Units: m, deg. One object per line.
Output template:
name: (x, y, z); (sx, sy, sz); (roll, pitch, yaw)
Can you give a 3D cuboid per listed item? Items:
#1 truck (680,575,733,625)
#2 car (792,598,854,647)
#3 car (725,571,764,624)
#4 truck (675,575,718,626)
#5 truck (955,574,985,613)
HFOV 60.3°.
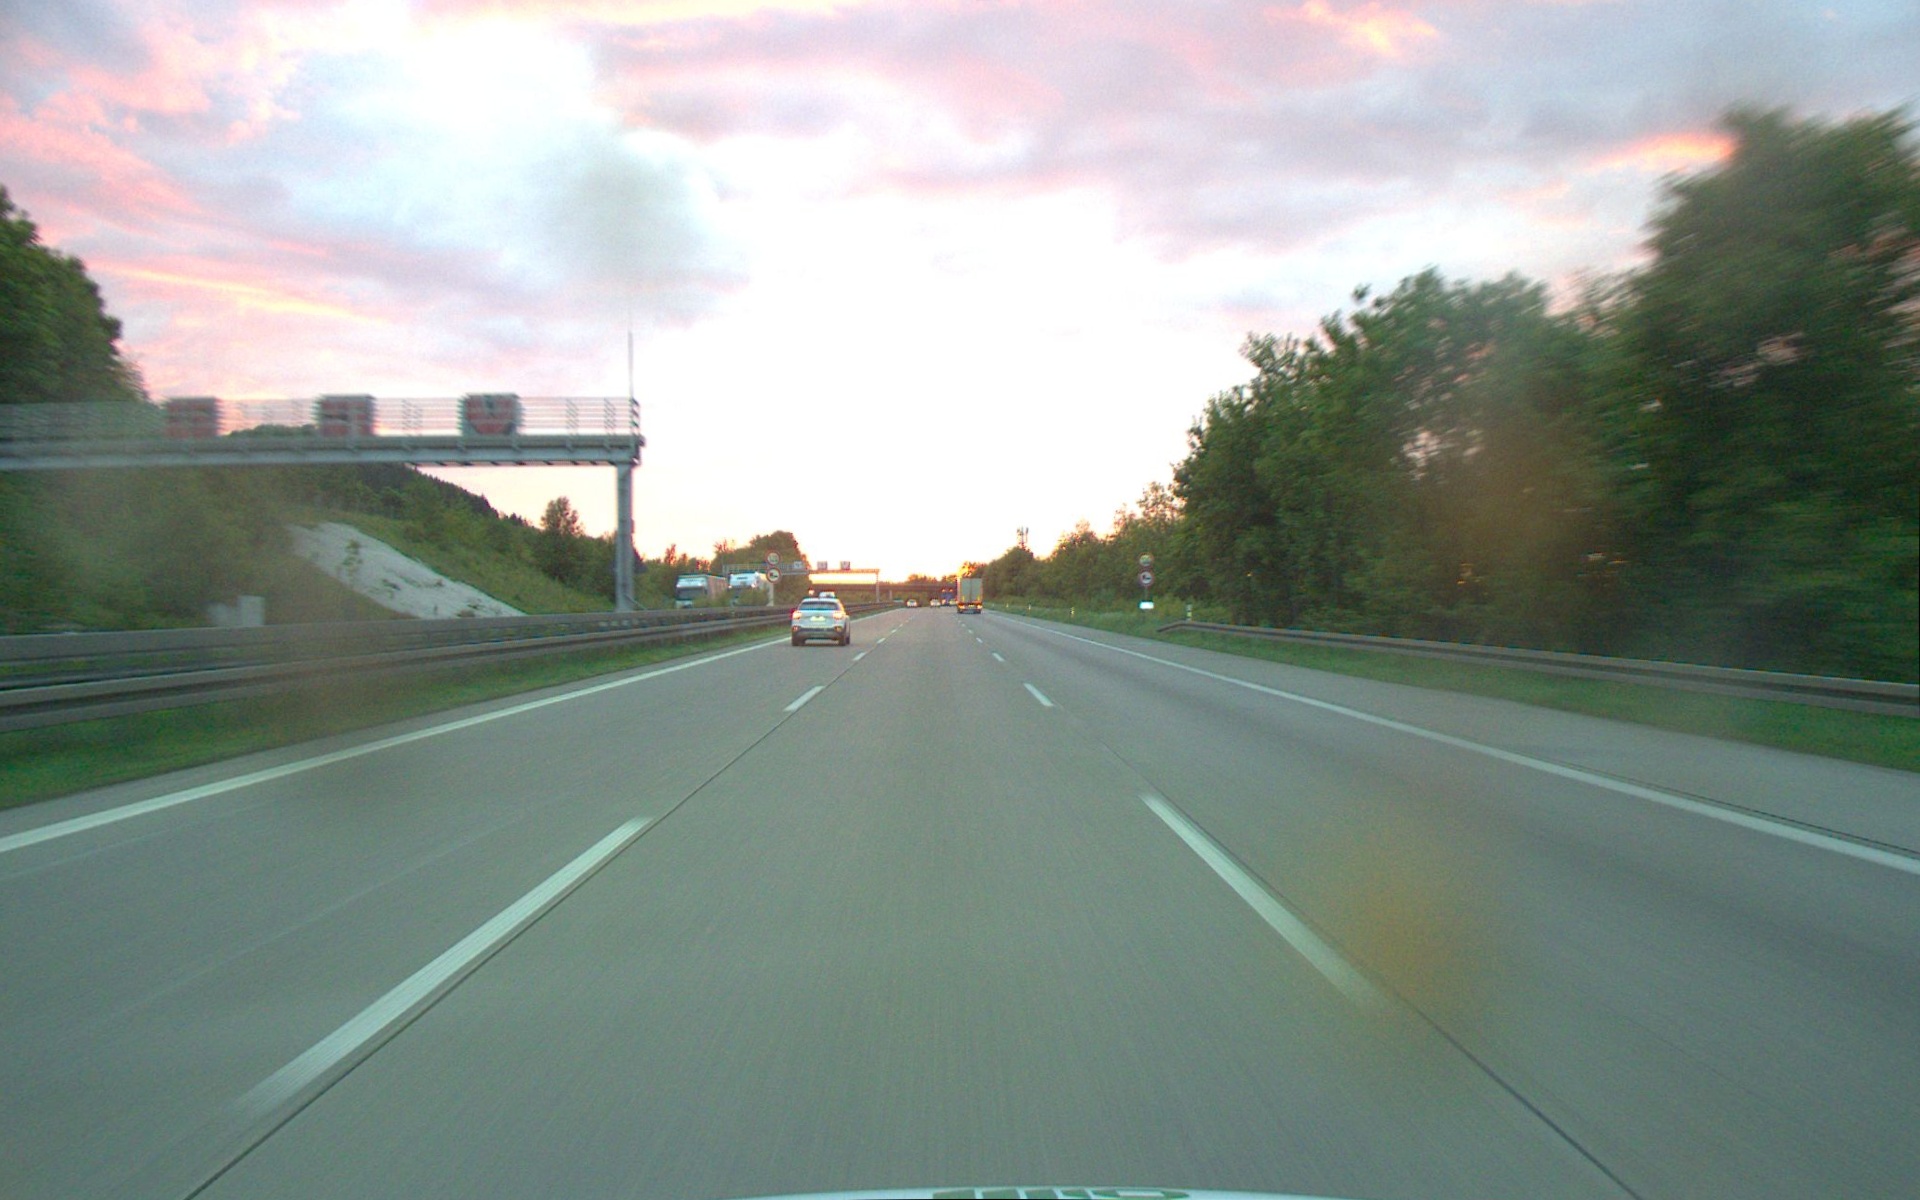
truck: (-23.009, -0.026, 150.922); (2.836, 4.284, 13.599); (-1, 0, 0)
car: (-4.499, 0.709, 55.018); (1.753, 1.527, 5.036); (0, 1, -1)
car: (-19.007, -0.244, 145.965); (2.741, 4.565, 5.928); (-1, 0, -1)
truck: (-22.948, 0.015, 144.316); (2.798, 4.284, 5.863); (-1, 0, -1)
truck: (1.131, -0.742, 184.640); (3.178, 4.199, 9.787); (-1, 0, 1)
